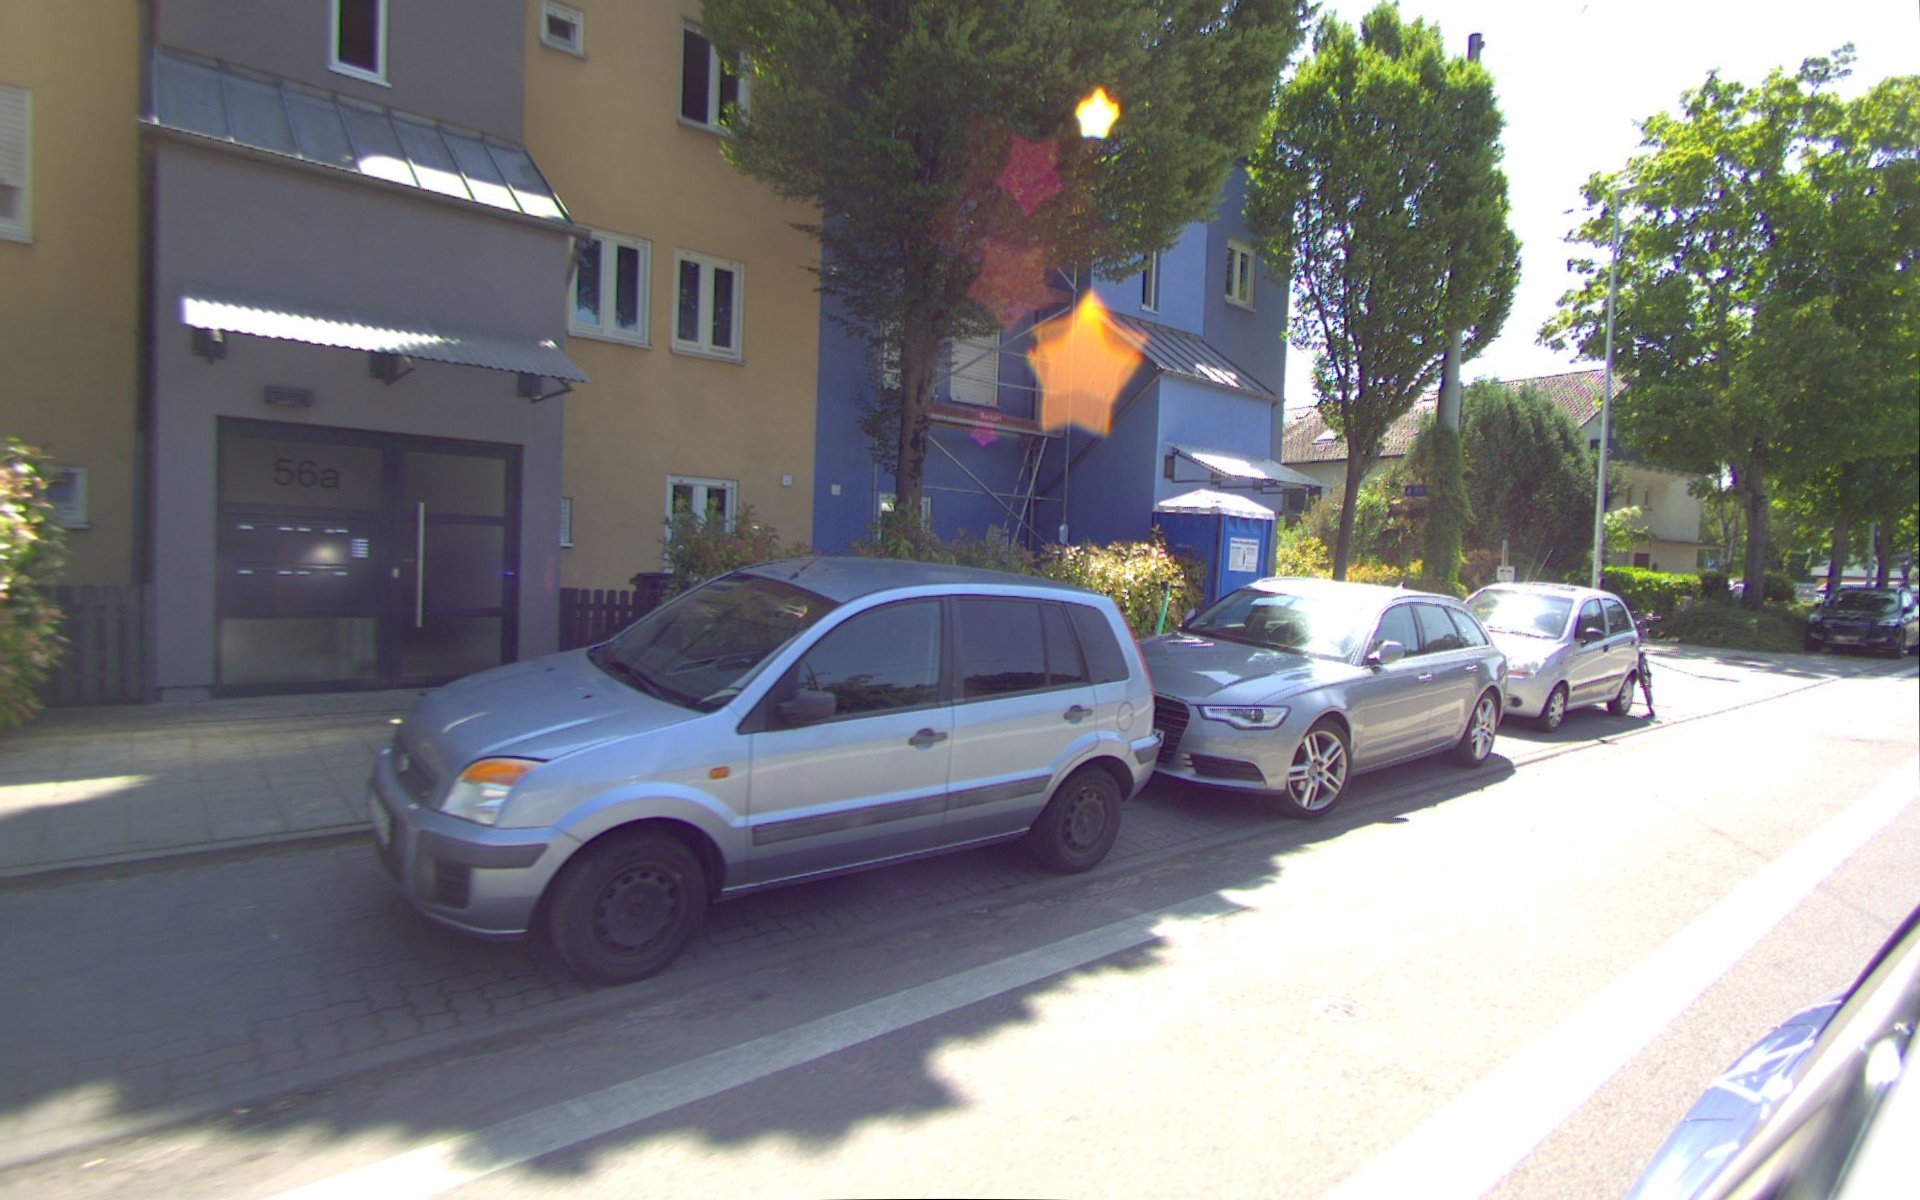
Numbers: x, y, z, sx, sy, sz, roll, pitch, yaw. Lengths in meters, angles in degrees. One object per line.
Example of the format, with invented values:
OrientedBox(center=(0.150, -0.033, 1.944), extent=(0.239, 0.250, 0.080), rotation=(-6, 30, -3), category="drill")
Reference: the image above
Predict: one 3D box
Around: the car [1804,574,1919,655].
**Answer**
OrientedBox(center=(22.951, 0.332, 25.312), extent=(4.542, 1.726, 1.847), rotation=(1, 5, -39), category="car")

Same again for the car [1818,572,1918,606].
OrientedBox(center=(70.476, -0.885, 78.623), extent=(2.057, 2.490, 5.504), rotation=(0, 1, -38), category="car")

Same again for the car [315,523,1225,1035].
OrientedBox(center=(-0.739, 0.533, 5.175), extent=(4.138, 1.547, 1.847), rotation=(1, 5, -38), category="car")

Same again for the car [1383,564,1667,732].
OrientedBox(center=(6.610, 0.463, 11.693), extent=(3.748, 1.547, 1.523), rotation=(1, 5, -40), category="car")

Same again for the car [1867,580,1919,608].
OrientedBox(center=(88.945, -0.549, 94.285), extent=(2.221, 2.561, 6.360), rotation=(0, 1, -36), category="car")

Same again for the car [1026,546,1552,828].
OrientedBox(center=(2.929, 0.481, 8.265), extent=(4.881, 1.547, 1.845), rotation=(0, 5, -43), category="car")

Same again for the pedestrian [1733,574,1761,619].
OrientedBox(center=(30.968, -0.145, 39.813), extent=(0.747, 1.743, 0.623), rotation=(3, 2, 44), category="pedestrian")

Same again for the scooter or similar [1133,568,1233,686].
OrientedBox(center=(2.600, 0.296, 11.747), extent=(1.315, 1.296, 0.385), rotation=(0, 1, -40), category="scooter or similar")

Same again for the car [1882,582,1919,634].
OrientedBox(center=(31.414, 0.298, 32.753), extent=(4.134, 1.547, 1.845), rotation=(0, 5, -43), category="car")

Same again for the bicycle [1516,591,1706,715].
OrientedBox(center=(8.226, 0.622, 12.877), extent=(0.670, 1.241, 1.782), rotation=(1, 8, -35), category="bicycle")

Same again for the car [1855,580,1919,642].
OrientedBox(center=(27.308, 0.315, 29.067), extent=(4.279, 1.547, 1.845), rotation=(0, 5, -42), category="car")
